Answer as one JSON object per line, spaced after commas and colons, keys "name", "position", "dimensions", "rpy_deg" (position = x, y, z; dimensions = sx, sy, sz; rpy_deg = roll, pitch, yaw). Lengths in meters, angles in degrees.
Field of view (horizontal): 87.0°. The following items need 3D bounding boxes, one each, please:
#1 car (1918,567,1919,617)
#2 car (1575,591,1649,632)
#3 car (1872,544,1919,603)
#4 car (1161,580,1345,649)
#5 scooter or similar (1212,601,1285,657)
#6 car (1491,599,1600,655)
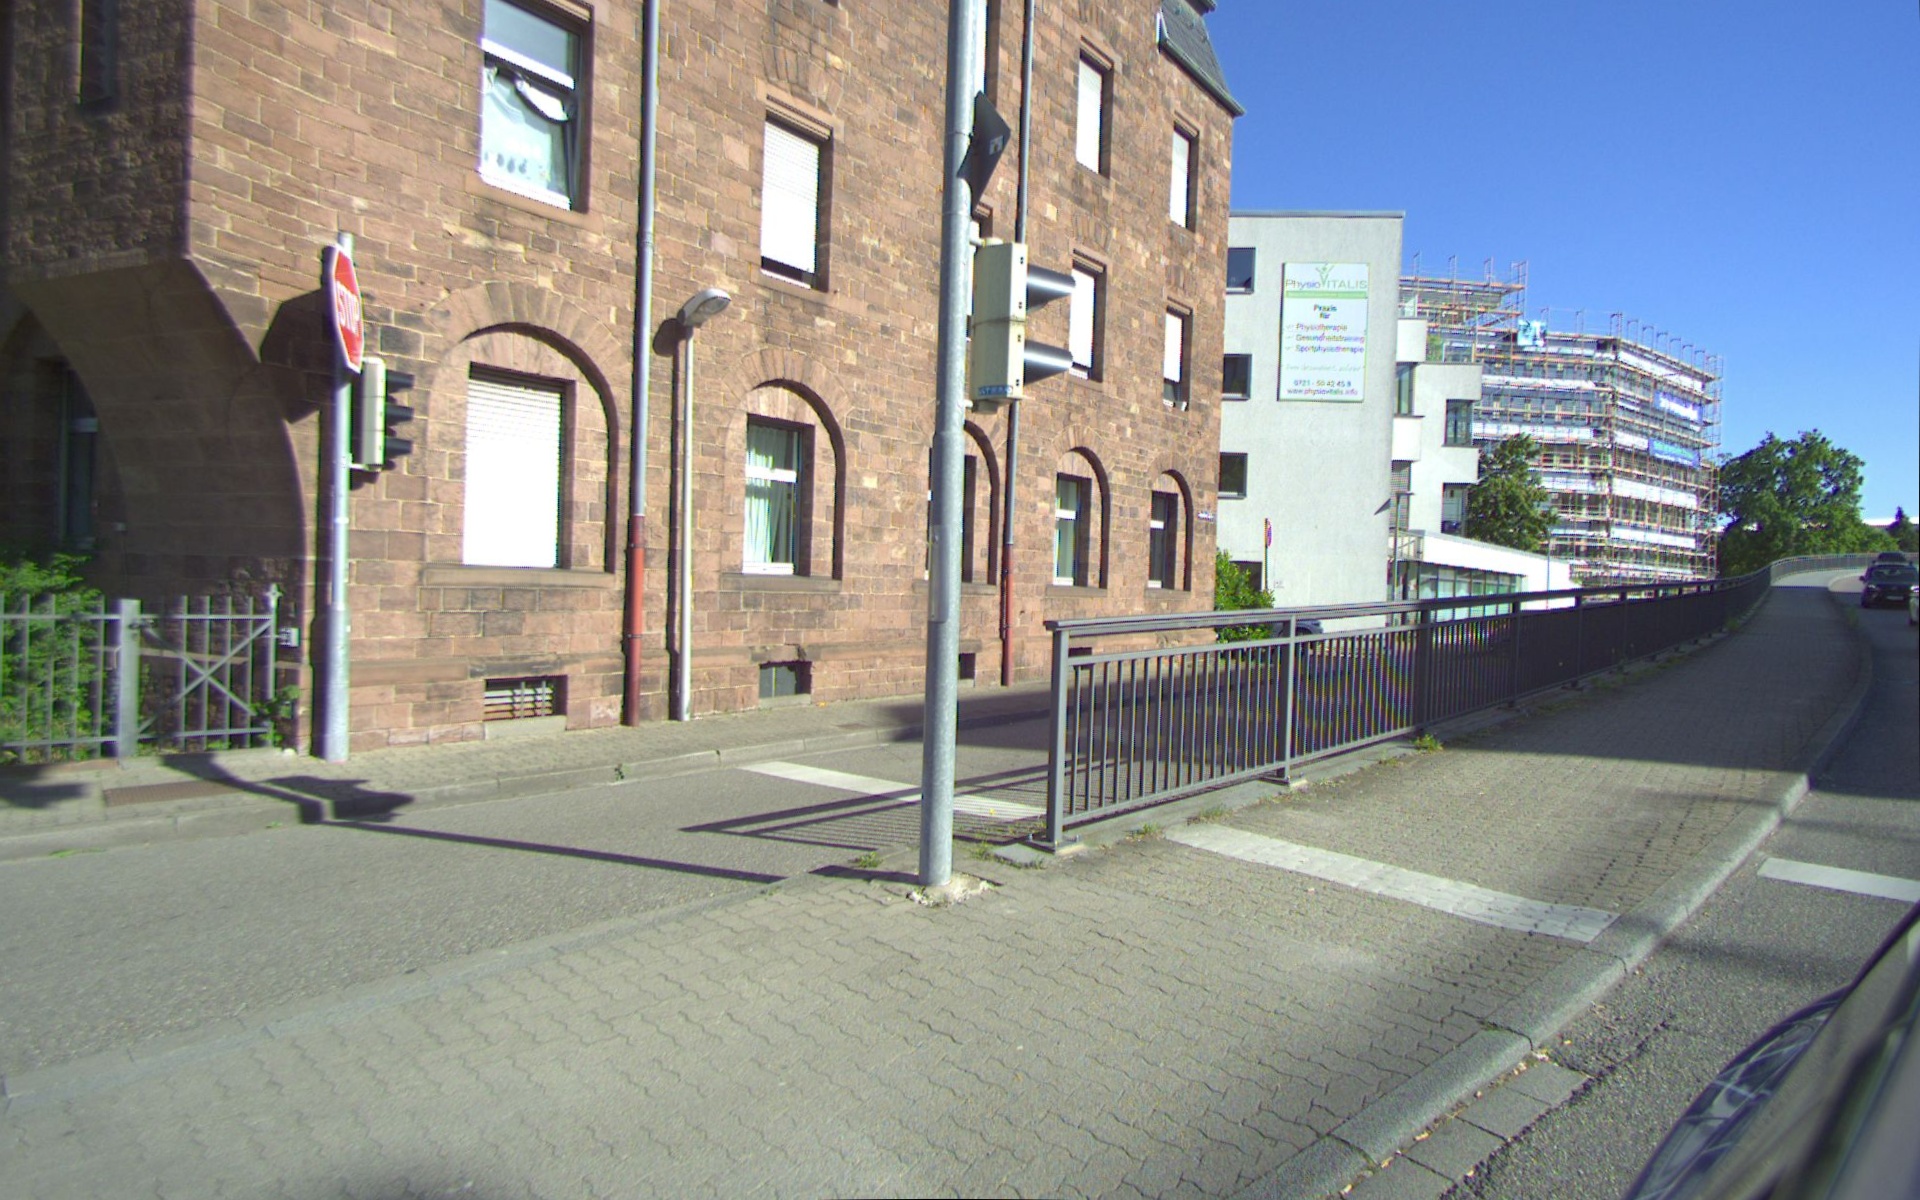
{"name": "car", "position": [29.331, -0.186, 29.477], "dimensions": [1.843, 1.554, 4.442], "rpy_deg": [2, 3, 41]}
{"name": "car", "position": [26.969, 0.443, 41.843], "dimensions": [1.845, 1.554, 3.937], "rpy_deg": [4, 2, 43]}
{"name": "car", "position": [38.617, -1.135, 41.236], "dimensions": [1.902, 2.240, 4.535], "rpy_deg": [1, 4, 39]}
{"name": "car", "position": [7.985, 0.359, 27.920], "dimensions": [4.564, 1.789, 1.827], "rpy_deg": [0, 2, 4]}
{"name": "scooter or similar", "position": [6.634, 0.647, 23.284], "dimensions": [1.454, 1.234, 0.775], "rpy_deg": [-1, -1, 37]}
{"name": "car", "position": [18.131, 0.774, 31.266], "dimensions": [1.845, 1.448, 4.608], "rpy_deg": [2, 3, 44]}
